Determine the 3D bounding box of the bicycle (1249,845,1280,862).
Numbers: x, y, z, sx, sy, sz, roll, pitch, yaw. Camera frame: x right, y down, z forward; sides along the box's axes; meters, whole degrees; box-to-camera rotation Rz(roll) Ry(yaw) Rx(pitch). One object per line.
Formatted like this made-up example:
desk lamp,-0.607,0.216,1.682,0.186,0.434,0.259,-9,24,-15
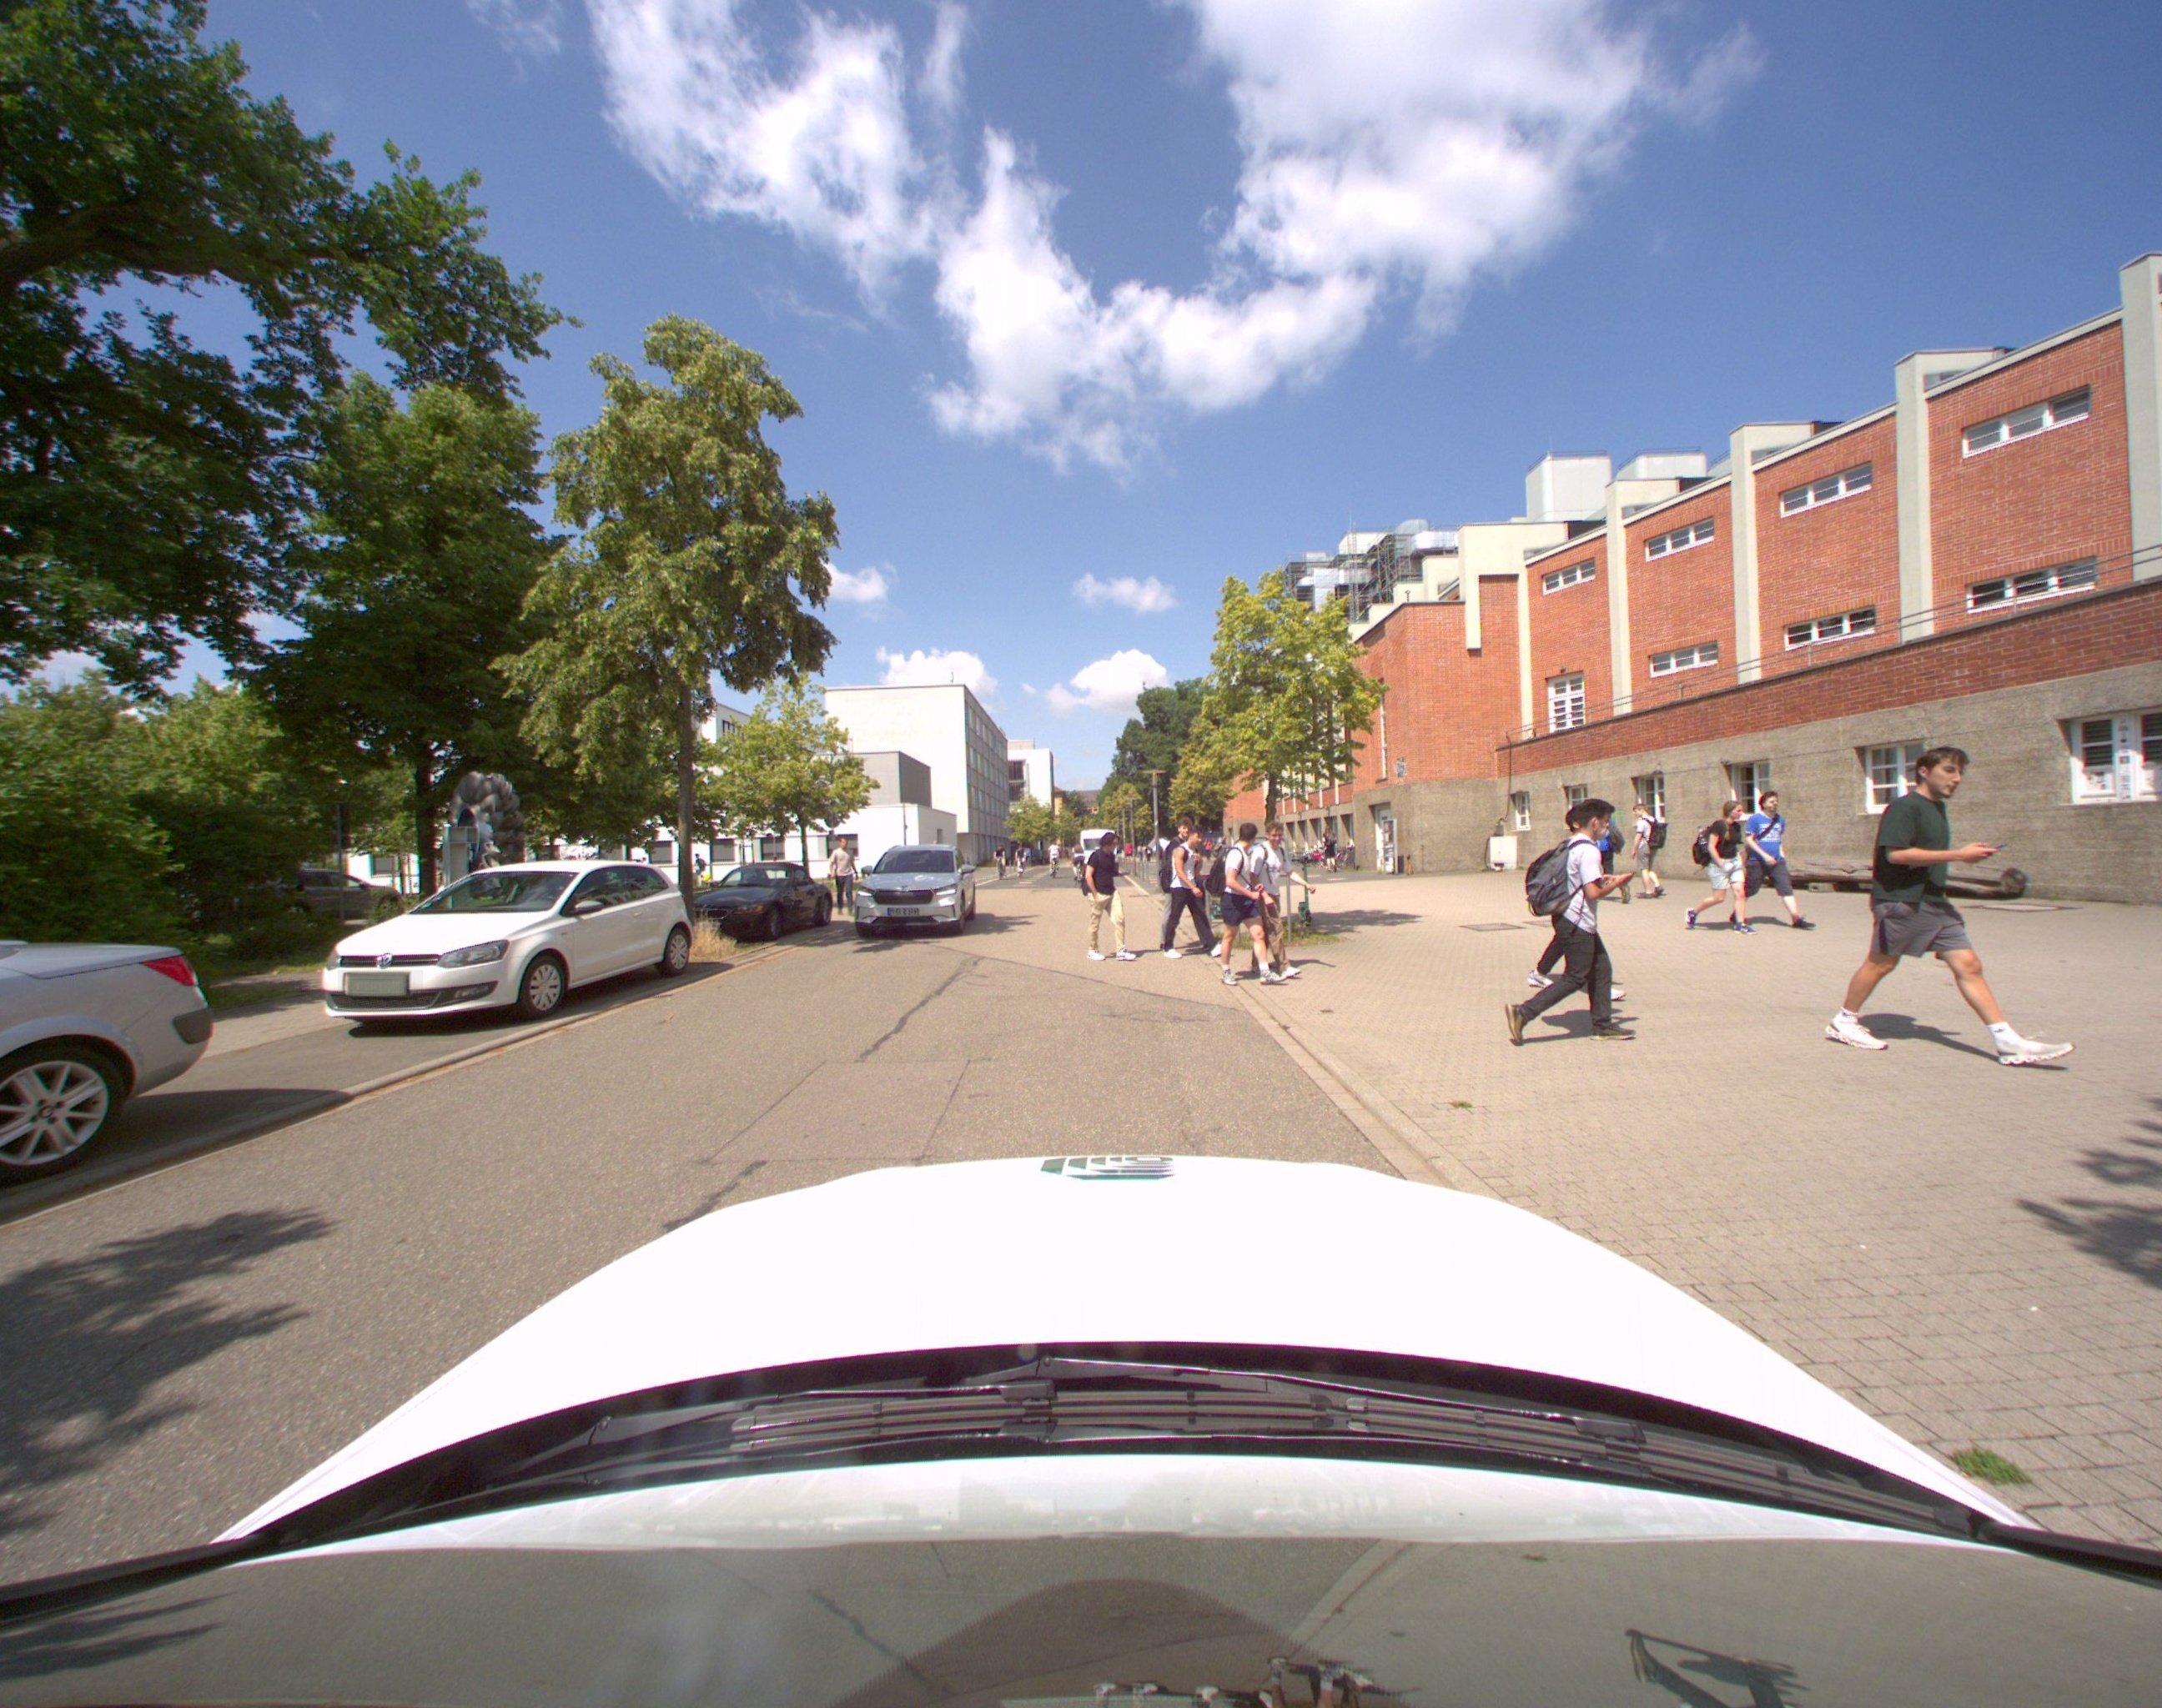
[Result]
bicycle,12.004,-0.007,53.327,1.803,0.985,0.560,-4,0,0

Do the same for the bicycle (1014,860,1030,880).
bicycle,-3.036,0.810,41.977,0.675,0.964,2.002,-1,1,-1

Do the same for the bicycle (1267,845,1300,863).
bicycle,12.409,0.006,49.865,1.803,0.985,0.560,-4,0,0

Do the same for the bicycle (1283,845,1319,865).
bicycle,12.283,0.038,45.479,1.803,0.985,0.560,-4,0,0

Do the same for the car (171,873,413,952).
car,-20.592,1.448,21.605,1.921,1.516,4.441,-5,1,0

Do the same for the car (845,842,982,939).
car,-3.082,0.640,15.931,1.913,1.619,4.515,0,-1,-3

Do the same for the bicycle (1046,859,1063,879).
bicycle,-1.333,0.753,41.392,0.806,1.002,2.123,1,-1,0

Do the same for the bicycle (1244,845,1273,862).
bicycle,12.106,-0.032,55.664,1.803,0.985,0.560,-4,0,0

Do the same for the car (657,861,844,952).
car,-5.855,0.861,14.975,1.639,1.300,3.929,-3,0,2

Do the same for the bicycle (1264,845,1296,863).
bicycle,12.337,0.015,50.453,1.803,0.985,0.560,-4,0,0

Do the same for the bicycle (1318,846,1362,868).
bicycle,11.927,0.139,37.558,1.803,0.912,0.560,-4,0,0

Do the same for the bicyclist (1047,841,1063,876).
bicyclist,-1.315,0.205,41.313,0.768,1.756,0.848,1,0,1

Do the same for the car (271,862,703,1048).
car,-5.700,0.837,8.507,1.656,1.411,3.807,-1,0,0

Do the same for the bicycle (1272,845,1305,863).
bicycle,12.328,0.002,48.387,1.803,0.985,0.560,-4,0,0

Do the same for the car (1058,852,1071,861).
car,-2.898,0.443,146.302,1.787,1.530,4.006,-3,0,5

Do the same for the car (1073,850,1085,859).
car,-0.386,0.011,146.020,1.787,1.530,4.006,-3,0,5

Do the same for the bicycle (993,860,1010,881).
bicycle,-3.905,0.802,40.123,0.675,0.965,2.002,-1,0,-1

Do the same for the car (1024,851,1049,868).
car,-4.352,0.524,80.296,1.787,1.530,4.006,-3,0,5

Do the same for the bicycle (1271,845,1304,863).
bicycle,12.481,-0.012,49.254,1.803,0.985,0.560,-4,0,0

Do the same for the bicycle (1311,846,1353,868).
bicycle,11.985,0.140,38.963,1.803,0.912,0.560,-4,0,0

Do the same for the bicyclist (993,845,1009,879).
bicyclist,-3.935,0.397,40.216,0.641,1.601,0.908,-3,0,-1

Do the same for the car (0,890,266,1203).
car,-5.742,0.907,2.724,1.718,1.343,4.168,-1,0,2

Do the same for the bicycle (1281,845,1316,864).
bicycle,12.307,0.029,46.066,1.803,0.985,0.560,-4,0,0

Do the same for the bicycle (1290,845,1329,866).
bicycle,11.975,0.060,42.687,1.803,0.985,0.560,-4,0,0

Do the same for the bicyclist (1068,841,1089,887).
bicyclist,-0.109,0.359,30.073,0.715,1.662,1.094,0,-1,-3

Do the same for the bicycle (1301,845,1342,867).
bicycle,12.029,0.083,40.726,1.803,0.985,0.560,-4,0,0

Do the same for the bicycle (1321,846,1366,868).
bicycle,11.836,0.132,36.702,1.803,0.912,0.560,-4,0,0

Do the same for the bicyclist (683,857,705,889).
bicyclist,-21.628,1.049,45.551,0.684,1.756,0.815,-2,-1,20

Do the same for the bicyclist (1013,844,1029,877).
bicyclist,-3.077,0.333,41.904,0.665,1.681,0.992,-3,0,-2

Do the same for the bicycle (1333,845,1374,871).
bicycle,11.618,0.170,34.769,1.530,1.033,0.560,-3,0,0

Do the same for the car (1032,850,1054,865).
car,-4.086,0.361,87.709,1.787,1.530,4.006,-3,0,5

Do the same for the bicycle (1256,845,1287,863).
bicycle,12.088,0.000,51.792,1.803,0.985,0.560,-4,0,0

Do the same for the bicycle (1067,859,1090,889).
bicycle,-0.100,0.726,30.111,0.705,0.993,1.908,1,1,-4

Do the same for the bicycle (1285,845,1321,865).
bicycle,12.202,0.038,44.743,1.803,0.985,0.560,-4,0,0
